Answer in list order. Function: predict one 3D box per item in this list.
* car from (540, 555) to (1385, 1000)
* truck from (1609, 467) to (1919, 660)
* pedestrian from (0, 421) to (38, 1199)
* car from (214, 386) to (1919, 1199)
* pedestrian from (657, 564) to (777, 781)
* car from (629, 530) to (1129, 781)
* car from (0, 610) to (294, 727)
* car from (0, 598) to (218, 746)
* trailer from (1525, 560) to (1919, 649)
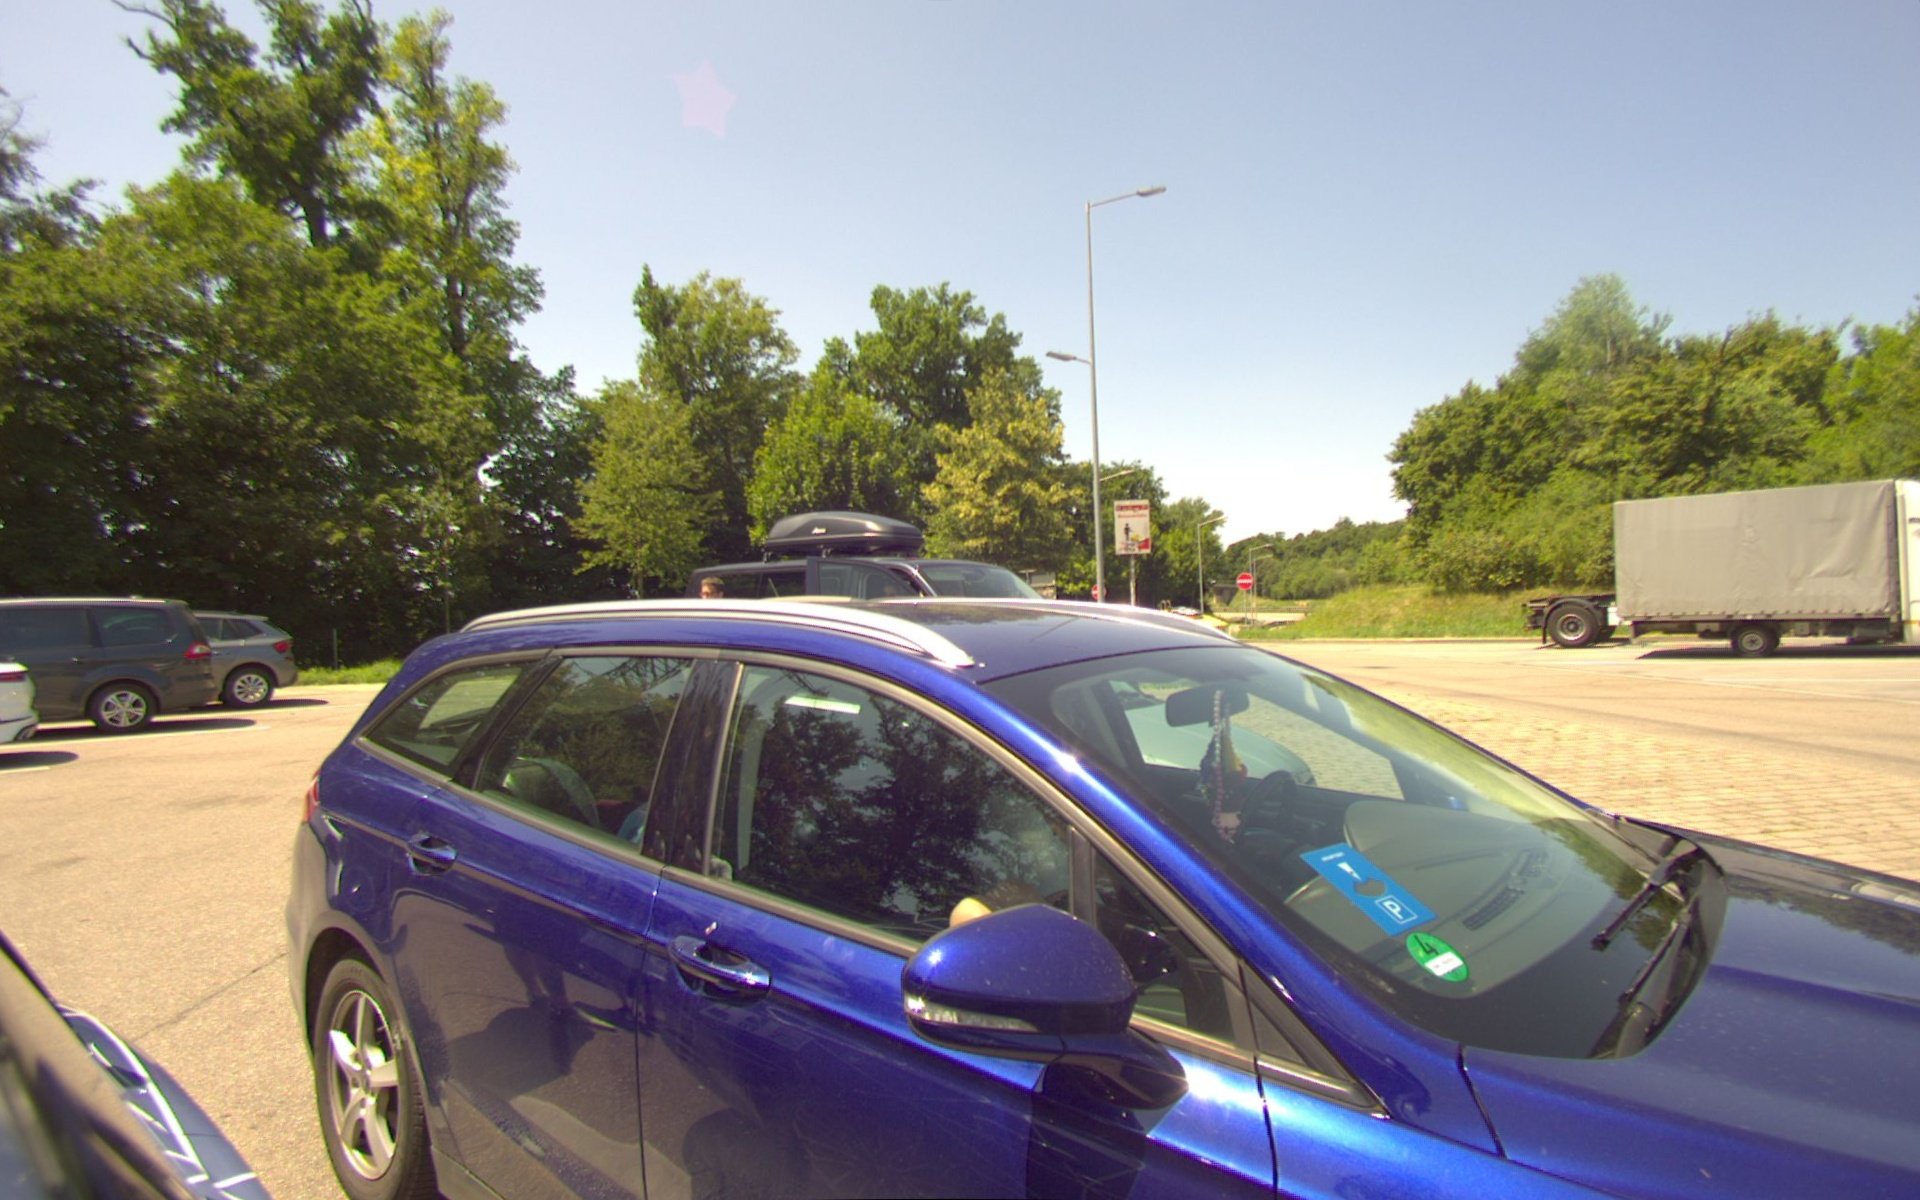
[{"bbox_3d":[-0.318,0.667,5.588,4.569,1.517,1.735,-3,0,40],"label":"car"},{"bbox_3d":[16.782,-0.651,18.992,7.274,3.269,2.678,-4,-1,42],"label":"truck"},{"bbox_3d":[-2.723,0.519,2.220,0.905,1.919,0.816,-1,0,-33],"label":"pedestrian"},{"bbox_3d":[0.238,0.632,2.051,4.569,1.482,1.735,-3,0,40],"label":"car"},{"bbox_3d":[-2.075,0.594,8.713,0.747,1.767,0.783,-1,0,9],"label":"pedestrian"},{"bbox_3d":[-0.889,0.496,9.636,4.558,1.912,1.740,-3,0,32],"label":"car"},{"bbox_3d":[-12.621,0.969,15.639,3.767,1.572,1.654,-1,0,-38],"label":"car"},{"bbox_3d":[-11.629,0.864,12.632,3.767,1.708,1.654,-1,0,-38],"label":"car"},{"bbox_3d":[17.706,0.154,23.090,8.098,1.638,2.187,-4,-1,41],"label":"trailer"}]
